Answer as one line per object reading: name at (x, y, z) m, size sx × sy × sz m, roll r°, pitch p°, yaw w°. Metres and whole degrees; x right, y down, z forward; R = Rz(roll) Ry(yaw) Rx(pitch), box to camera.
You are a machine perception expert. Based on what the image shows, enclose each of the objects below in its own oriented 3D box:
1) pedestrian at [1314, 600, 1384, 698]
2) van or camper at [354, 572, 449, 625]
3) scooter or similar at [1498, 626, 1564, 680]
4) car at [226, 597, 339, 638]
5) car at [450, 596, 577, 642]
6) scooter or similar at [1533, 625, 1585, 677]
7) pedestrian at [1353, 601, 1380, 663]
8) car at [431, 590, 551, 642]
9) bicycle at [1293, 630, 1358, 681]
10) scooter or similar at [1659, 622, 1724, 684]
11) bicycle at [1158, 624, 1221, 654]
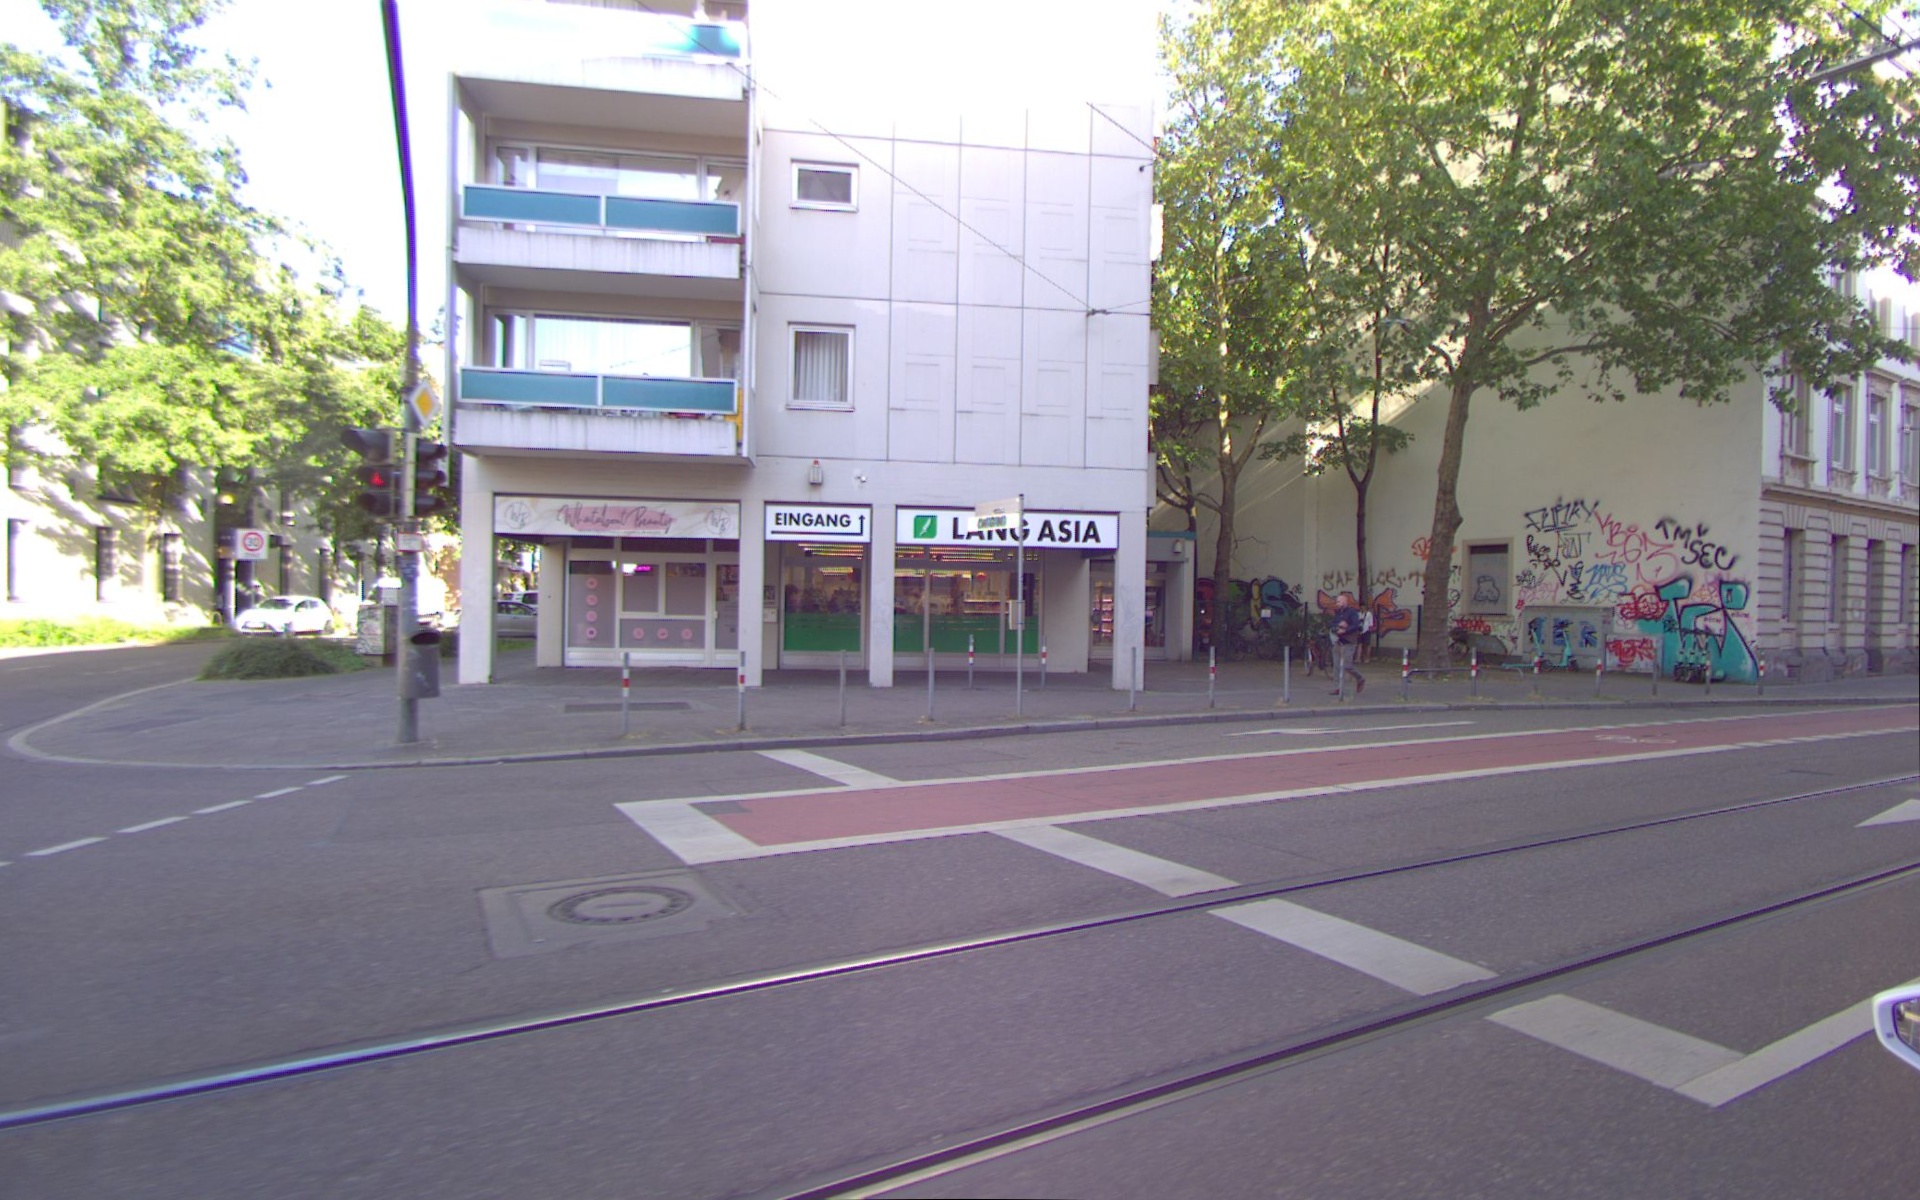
pedestrian at (7.245, 0.898, 18.716) m, size 1.010 × 1.789 × 0.681 m, roll 1°, pitch 0°, yaw -20°
van or camper at (-27.238, -0.049, 49.214) m, size 1.962 × 2.396 × 5.471 m, roll 1°, pitch 0°, yaw -5°
scooter or similar at (14.025, 1.286, 24.674) m, size 0.762 × 1.274 × 1.217 m, roll 1°, pitch 0°, yaw -42°
car at (-26.224, 0.666, 39.065) m, size 1.962 × 1.483 × 3.996 m, roll 1°, pitch 0°, yaw -6°
car at (-16.133, 0.659, 36.350) m, size 3.963 × 1.506 × 1.588 m, roll -1°, pitch 3°, yaw -38°
scooter or similar at (14.890, 1.246, 24.961) m, size 0.762 × 1.238 × 0.929 m, roll 1°, pitch 0°, yaw -42°
pedestrian at (11.553, 0.905, 28.558) m, size 0.541 × 1.741 × 0.453 m, roll 1°, pitch 0°, yaw -31°
car at (-18.181, 0.611, 38.996) m, size 3.965 × 1.900 × 1.588 m, roll 1°, pitch 0°, yaw -38°
bicycle at (8.199, 1.234, 22.624) m, size 0.652 × 1.048 × 1.921 m, roll 1°, pitch 0°, yaw -3°
scooter or similar at (16.521, 1.188, 22.693) m, size 1.062 × 1.289 × 0.784 m, roll -1°, pitch 3°, yaw -31°
bicycle at (7.327, 1.257, 32.071) m, size 1.951 × 0.926 × 0.503 m, roll 1°, pitch 0°, yaw -17°
